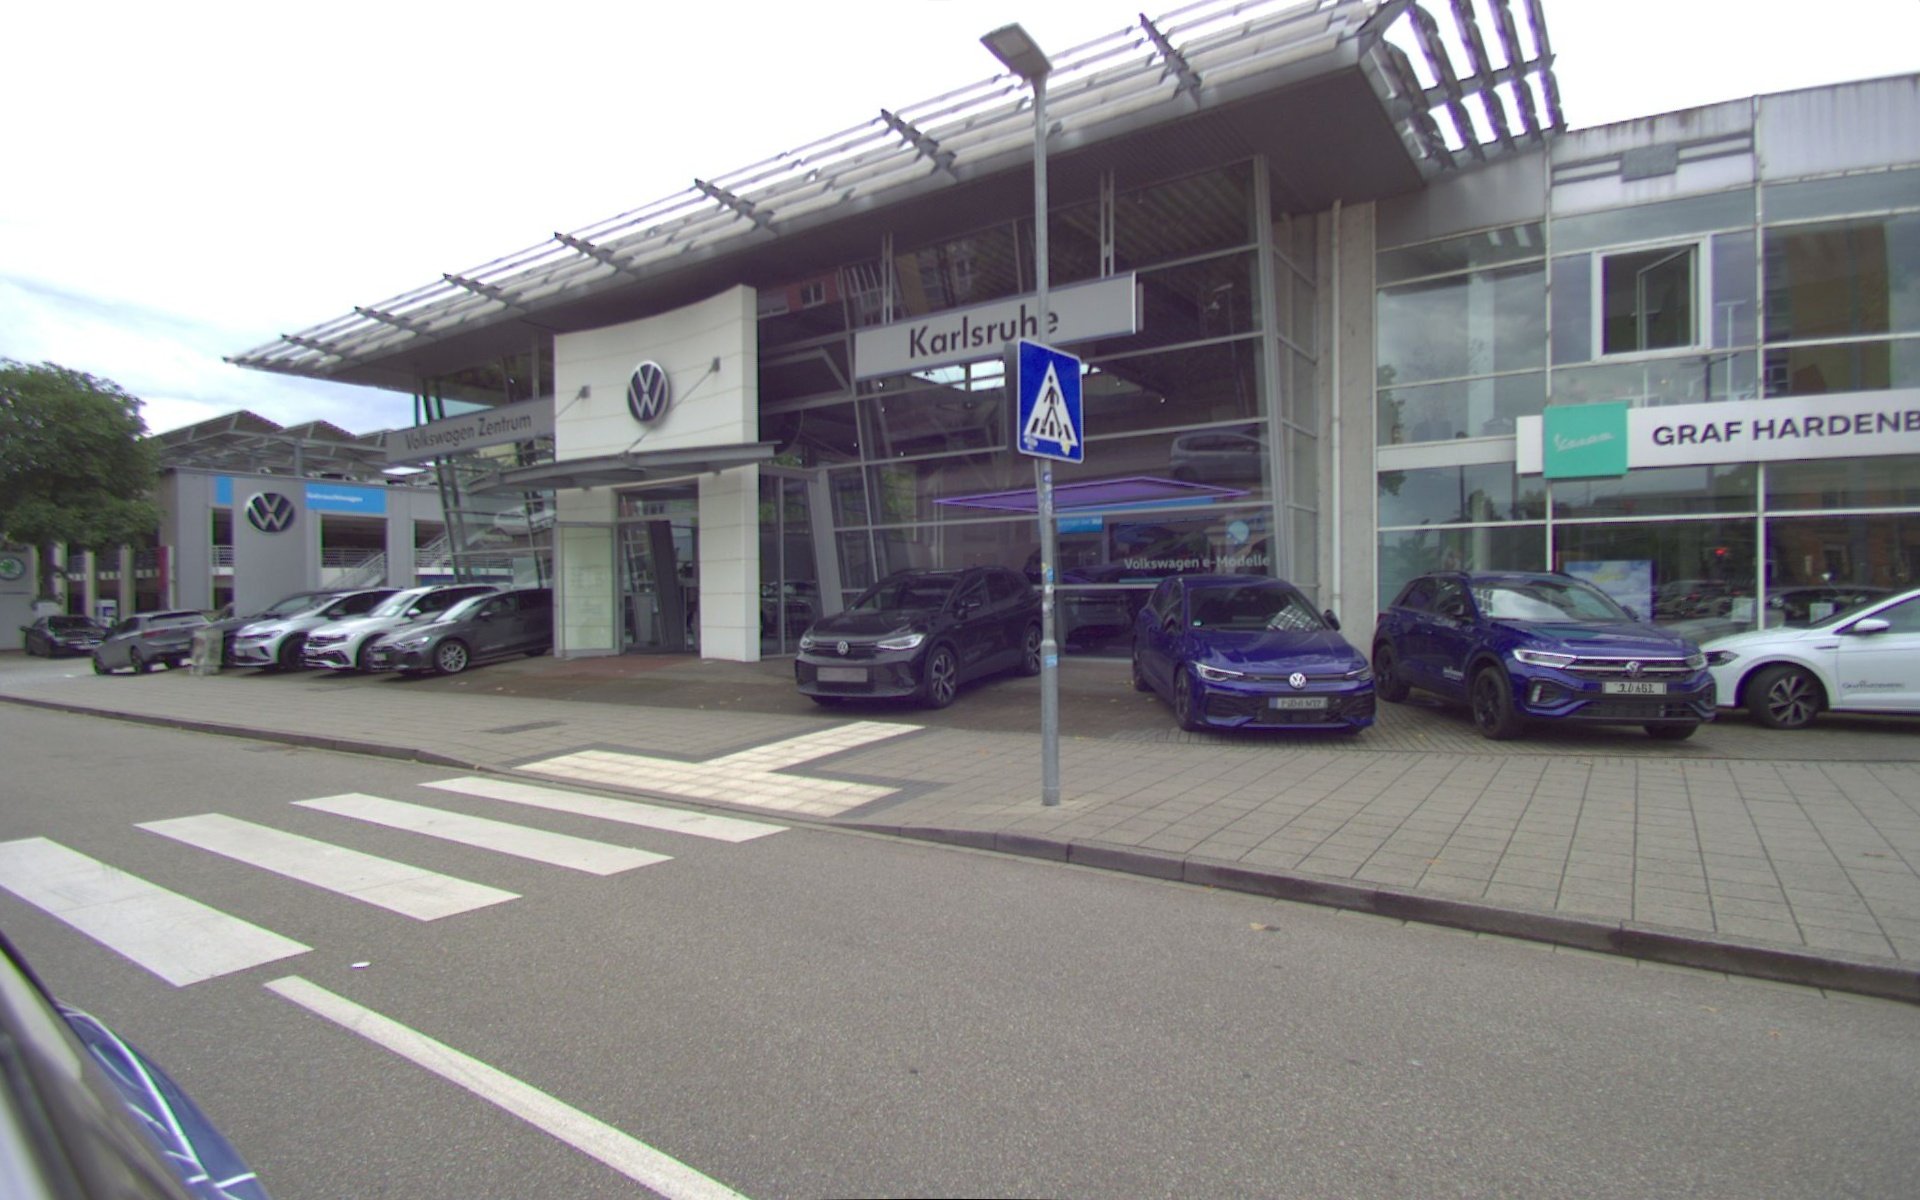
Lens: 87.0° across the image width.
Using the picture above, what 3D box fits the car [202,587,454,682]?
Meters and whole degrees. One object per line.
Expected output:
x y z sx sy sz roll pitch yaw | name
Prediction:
-14.238 0.700 23.070 1.865 1.712 4.425 -2 3 34 | car

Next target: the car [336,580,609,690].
-9.419 0.593 19.924 1.892 1.709 4.426 -2 3 33 | car

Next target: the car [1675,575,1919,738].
9.444 0.507 9.625 4.256 1.463 1.761 -1 -1 37 | car

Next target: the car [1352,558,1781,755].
5.735 0.451 10.331 1.876 1.574 4.219 -1 0 1 | car

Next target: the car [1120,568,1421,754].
2.996 0.457 10.818 1.832 1.515 4.340 -1 3 0 | car

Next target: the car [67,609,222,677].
-21.052 1.099 26.095 4.001 1.575 1.899 -2 0 32 | car

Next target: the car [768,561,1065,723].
-0.351 0.413 13.425 1.853 1.644 4.467 -2 2 28 | car

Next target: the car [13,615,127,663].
-31.878 1.354 36.215 4.461 1.559 1.878 -1 1 32 | car

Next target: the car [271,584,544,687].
-11.581 0.657 21.582 1.856 1.712 4.721 -2 3 34 | car
